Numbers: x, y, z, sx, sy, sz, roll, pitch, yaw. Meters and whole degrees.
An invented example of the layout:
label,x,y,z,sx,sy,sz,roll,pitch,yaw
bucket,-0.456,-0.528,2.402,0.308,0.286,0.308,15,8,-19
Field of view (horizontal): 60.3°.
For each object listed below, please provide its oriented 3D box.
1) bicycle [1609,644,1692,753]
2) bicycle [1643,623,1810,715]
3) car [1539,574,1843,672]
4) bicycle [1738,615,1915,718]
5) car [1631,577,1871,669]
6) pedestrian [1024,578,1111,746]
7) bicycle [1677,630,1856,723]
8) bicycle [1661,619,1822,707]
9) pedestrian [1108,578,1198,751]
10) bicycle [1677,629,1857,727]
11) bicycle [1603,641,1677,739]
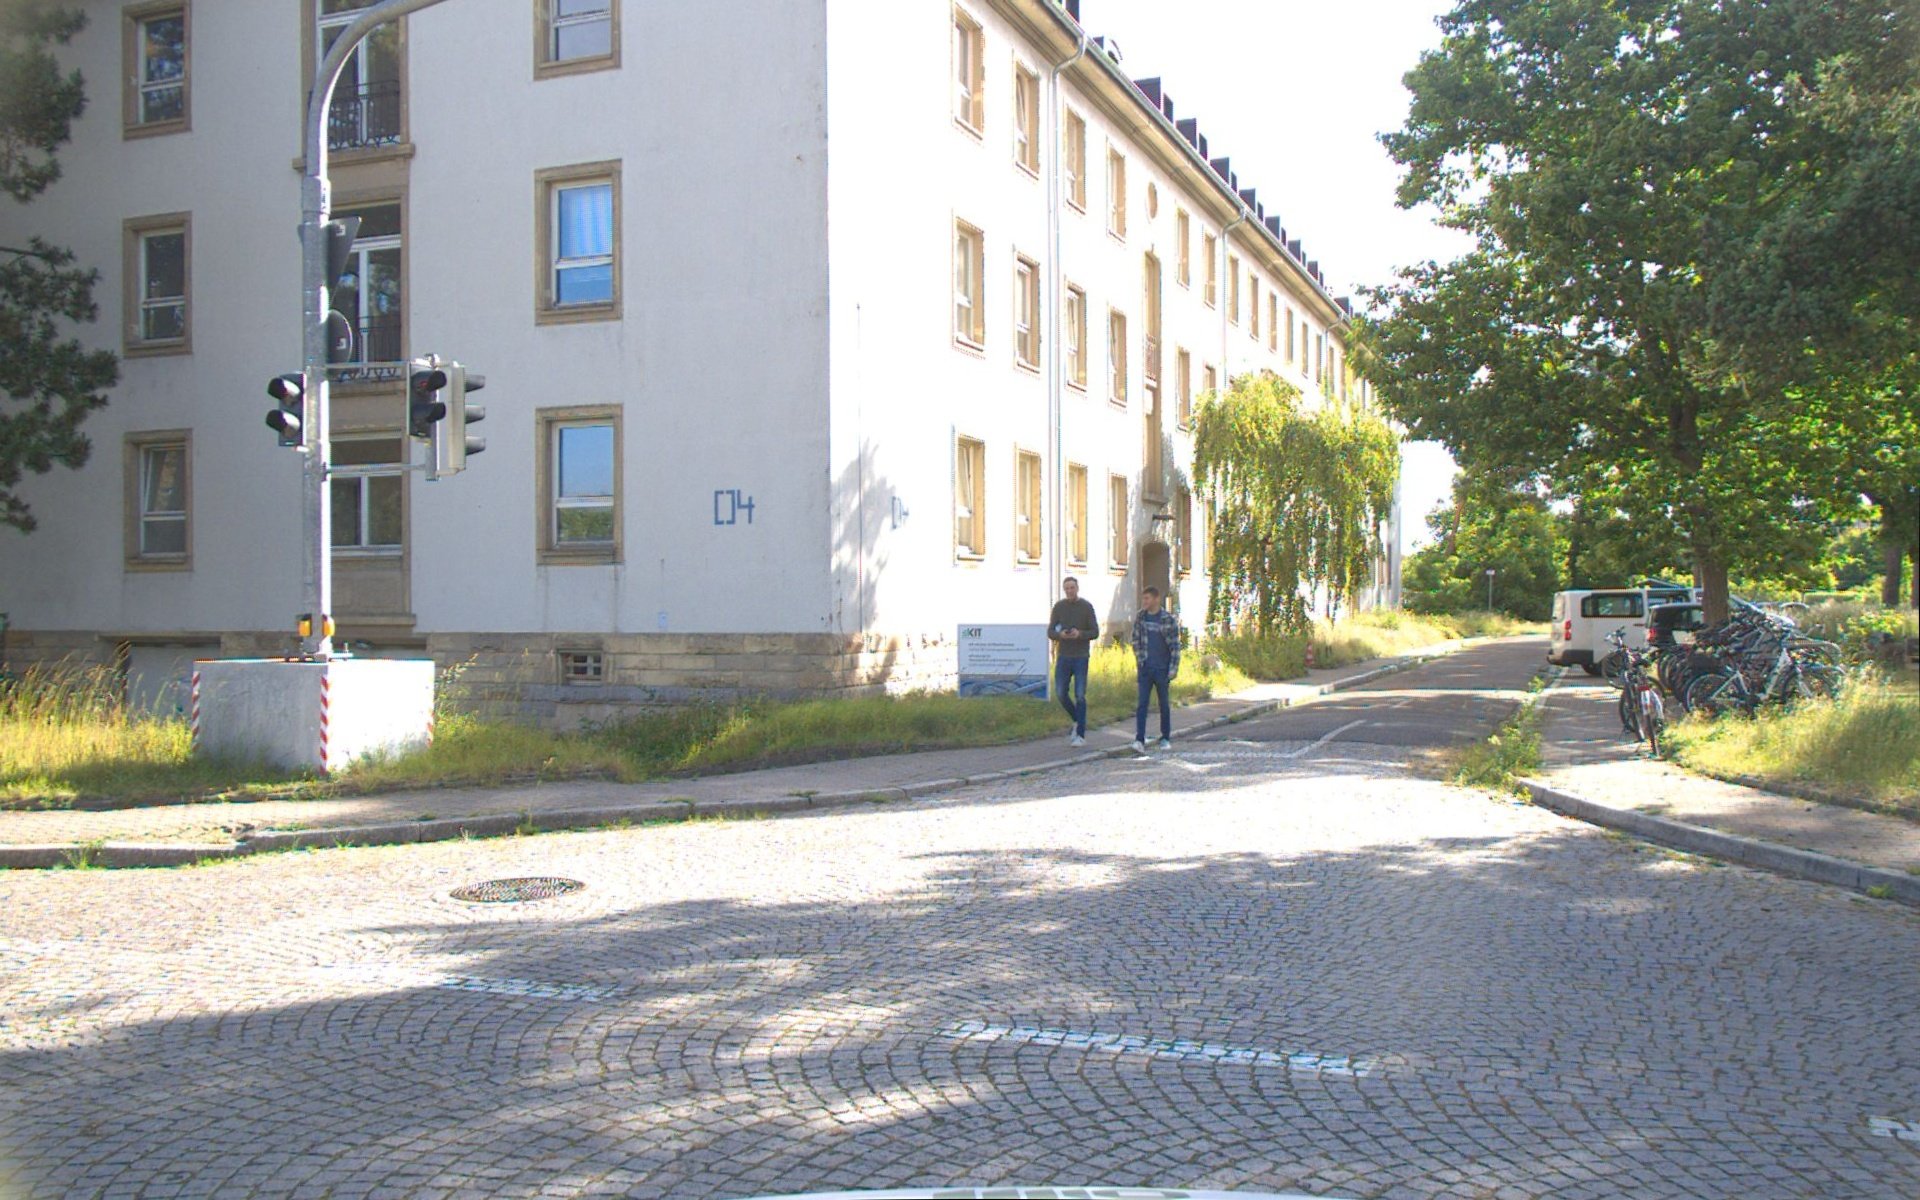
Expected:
label,x,y,z,sx,sy,sz,roll,pitch,yaw
bicycle,7.010,0.974,16.854,0.681,0.988,1.861,0,0,19
bicycle,9.976,0.891,21.558,1.903,1.149,0.647,0,0,-5
car,15.951,0.504,36.490,5.804,2.049,2.477,0,0,15
bicycle,10.804,0.818,20.671,1.900,1.257,0.485,0,0,19
car,15.248,0.442,32.096,3.902,1.713,1.849,0,0,14
pedestrian,1.211,0.683,18.615,0.797,1.849,0.553,-1,0,33
bicycle,9.514,0.893,19.585,1.816,1.049,0.750,0,0,19
bicycle,10.601,0.844,22.501,1.900,1.149,0.648,0,0,17
pedestrian,2.118,0.687,18.155,0.753,1.849,0.680,-1,0,33
bicycle,9.868,0.936,20.304,1.900,1.149,0.750,0,0,19
bicycle,7.661,0.989,18.685,0.681,0.988,1.861,0,0,19
